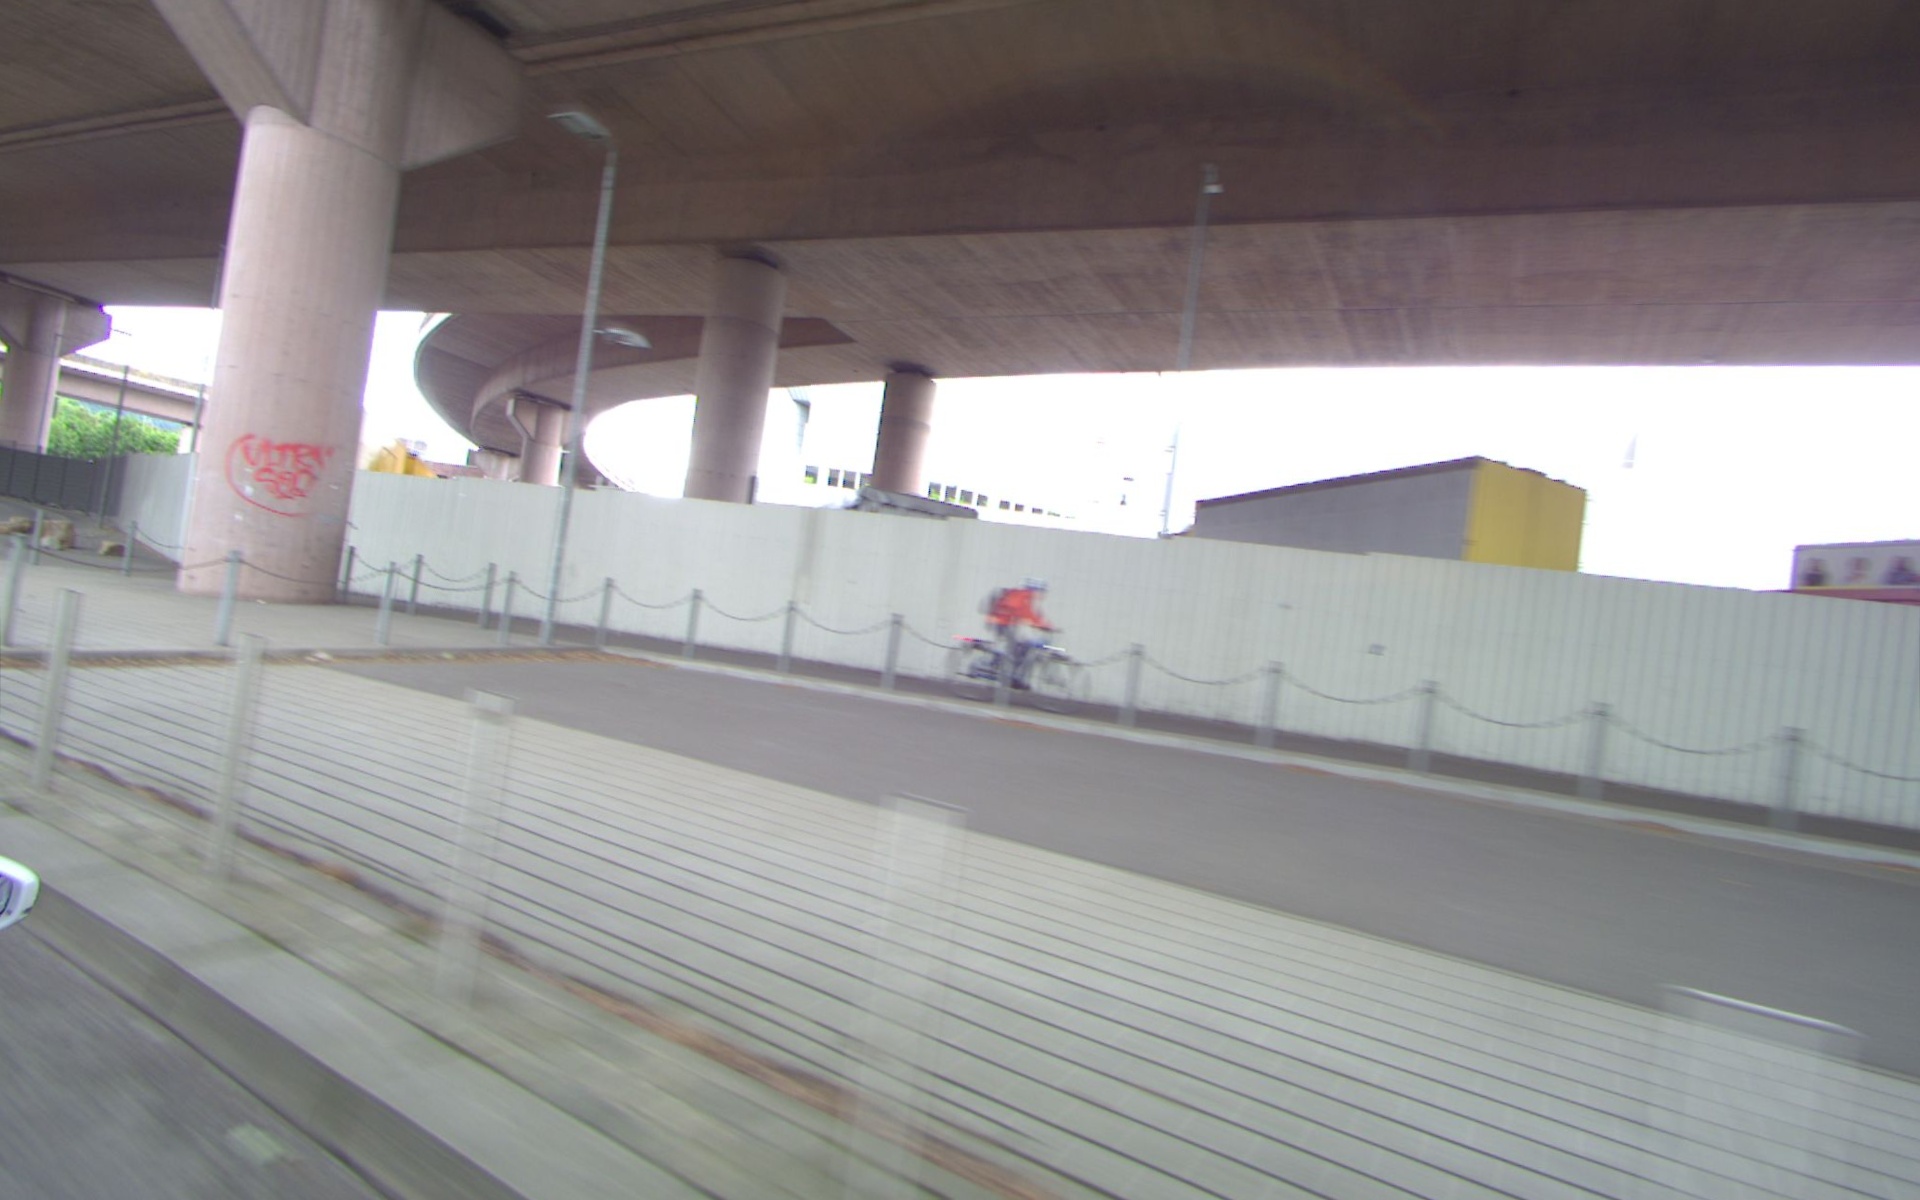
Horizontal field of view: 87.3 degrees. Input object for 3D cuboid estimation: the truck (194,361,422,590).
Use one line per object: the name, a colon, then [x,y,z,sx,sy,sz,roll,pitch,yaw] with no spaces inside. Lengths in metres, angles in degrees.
truck: [-17.864,-3.043,28.358,3.106,4.974,8.677,8,-1,-21]

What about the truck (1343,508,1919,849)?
truck: [11.598,0.952,17.436,2.859,4.234,10.016,7,0,-21]

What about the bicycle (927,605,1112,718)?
bicycle: [0.752,0.760,12.789,2.092,1.111,0.804,7,1,21]

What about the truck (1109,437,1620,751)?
truck: [7.083,-0.199,20.044,3.106,4.497,9.673,7,0,-23]

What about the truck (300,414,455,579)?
truck: [-21.299,-3.478,37.404,3.106,4.960,8.677,8,-1,-21]

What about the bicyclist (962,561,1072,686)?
bicyclist: [0.731,0.299,12.803,1.047,1.423,0.798,7,1,21]

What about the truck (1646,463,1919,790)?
truck: [16.433,0.608,14.988,3.107,4.984,9.673,7,0,-23]

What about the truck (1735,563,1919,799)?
truck: [19.306,1.703,16.617,2.777,4.209,9.877,7,0,-22]

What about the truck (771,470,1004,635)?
truck: [-2.164,-1.141,24.159,3.102,2.982,8.673,5,2,-20]
